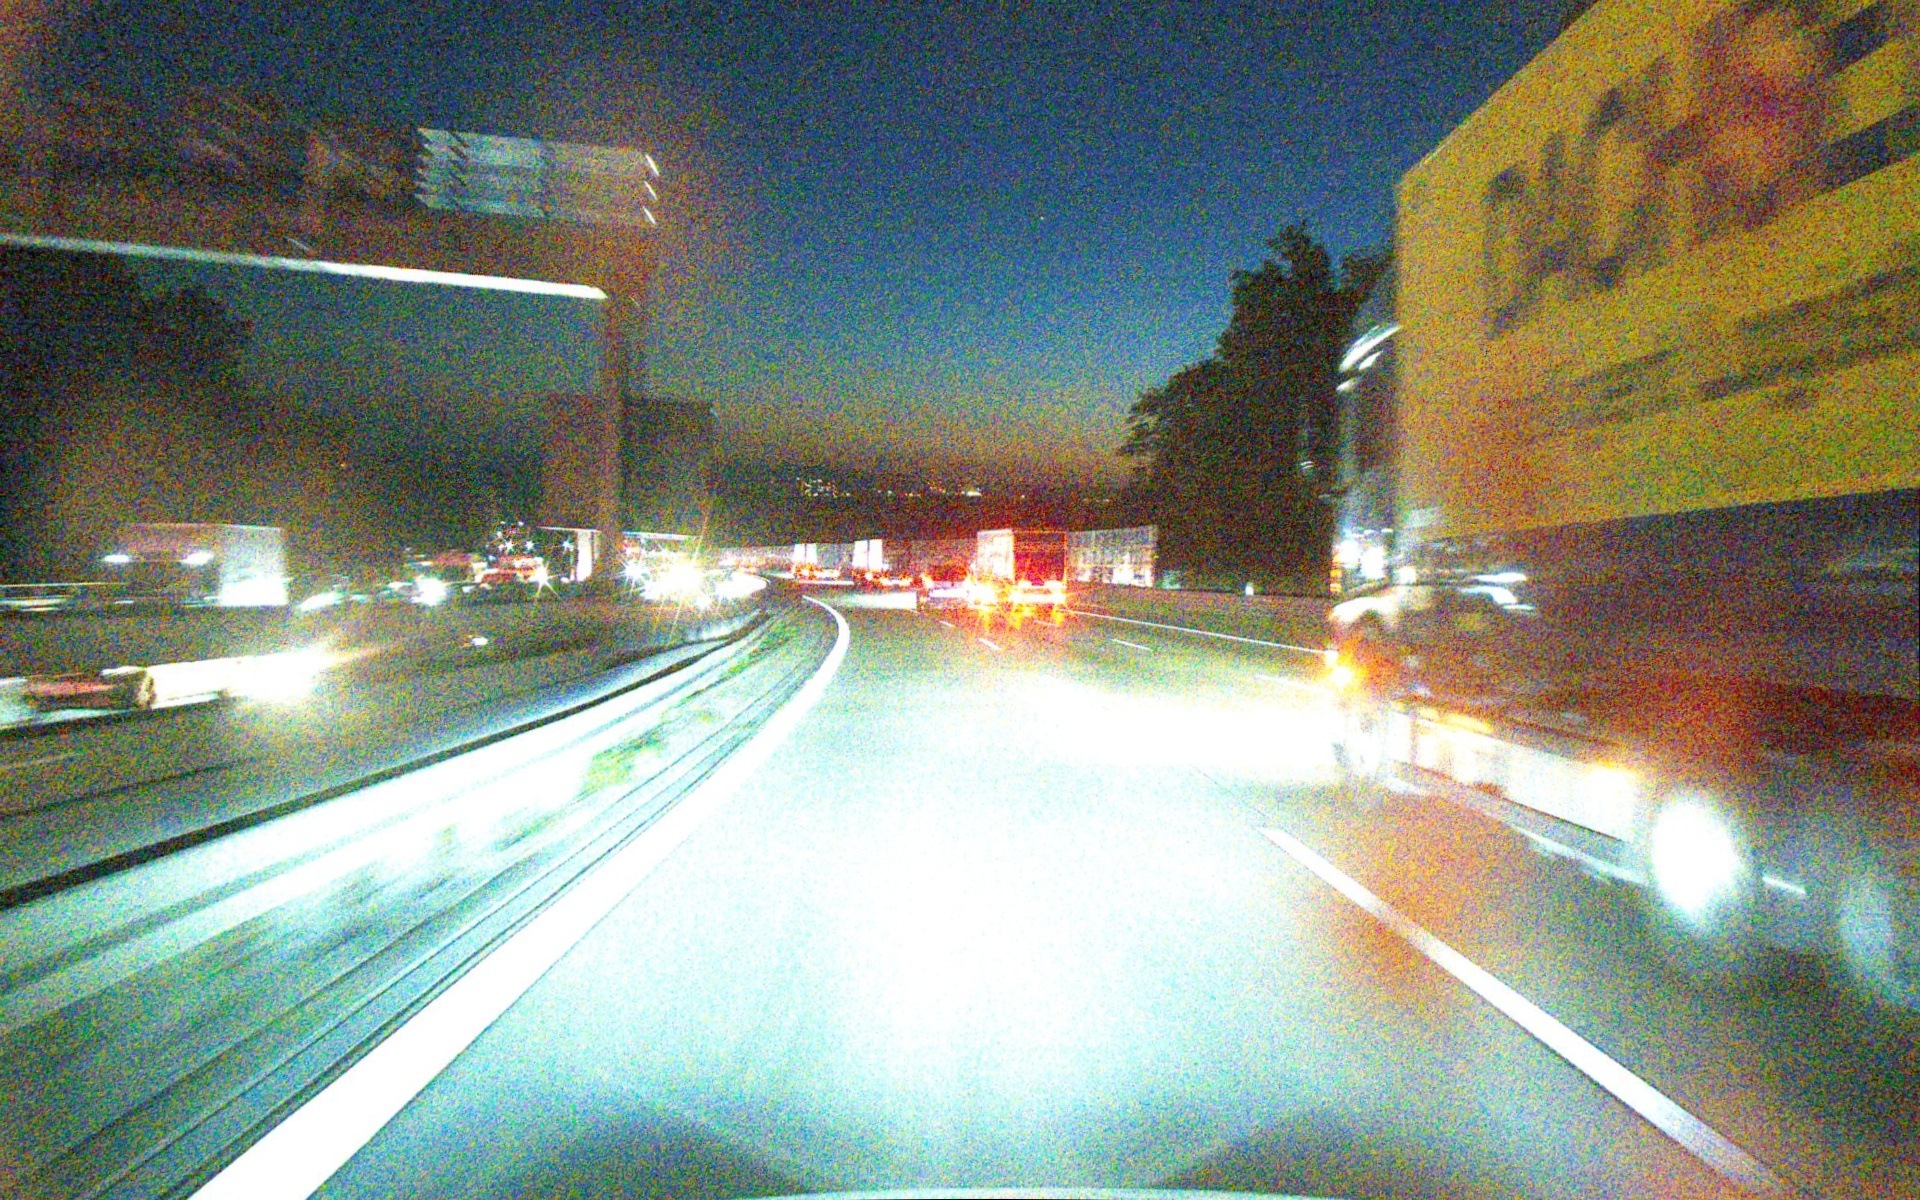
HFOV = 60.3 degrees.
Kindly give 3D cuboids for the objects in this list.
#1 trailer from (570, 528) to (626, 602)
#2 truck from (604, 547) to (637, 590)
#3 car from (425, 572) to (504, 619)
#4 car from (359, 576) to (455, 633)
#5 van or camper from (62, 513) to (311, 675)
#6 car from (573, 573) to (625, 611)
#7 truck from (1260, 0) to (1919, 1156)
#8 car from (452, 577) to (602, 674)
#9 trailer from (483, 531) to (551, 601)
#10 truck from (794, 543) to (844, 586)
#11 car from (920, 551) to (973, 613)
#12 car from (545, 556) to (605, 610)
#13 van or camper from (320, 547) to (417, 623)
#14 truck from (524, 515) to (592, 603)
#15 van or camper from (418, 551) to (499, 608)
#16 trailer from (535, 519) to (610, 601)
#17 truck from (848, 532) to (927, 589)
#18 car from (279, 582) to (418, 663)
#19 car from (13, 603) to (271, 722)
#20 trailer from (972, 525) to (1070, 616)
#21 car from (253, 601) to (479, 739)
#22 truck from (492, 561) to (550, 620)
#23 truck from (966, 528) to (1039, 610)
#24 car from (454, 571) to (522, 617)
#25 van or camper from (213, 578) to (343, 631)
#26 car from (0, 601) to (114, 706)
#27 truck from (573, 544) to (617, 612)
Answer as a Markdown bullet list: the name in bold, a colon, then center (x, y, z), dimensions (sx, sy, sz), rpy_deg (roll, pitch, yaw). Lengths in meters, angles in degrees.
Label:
- **trailer**: center (-25.178, -2.412, 115.666), dimensions (2.790, 4.538, 14.488), rpy_deg (-7, 2, -10)
- **truck**: center (-32.332, -3.021, 157.236), dimensions (2.781, 3.984, 4.916), rpy_deg (-1, 2, -15)
- **car**: center (-17.076, -0.189, 57.204), dimensions (1.861, 1.412, 4.343), rpy_deg (-2, 2, -7)
- **car**: center (-17.399, 0.151, 52.229), dimensions (1.890, 1.682, 4.730), rpy_deg (0, 0, -6)
- **van or camper**: center (-15.981, -0.172, 34.746), dimensions (2.178, 3.055, 7.121), rpy_deg (0, 1, -3)
- **car**: center (-15.543, -0.327, 71.330), dimensions (1.863, 1.550, 4.340), rpy_deg (-2, 0, -9)
- **truck**: center (4.264, -0.601, 3.752), dimensions (3.411, 4.207, 18.706), rpy_deg (2, 0, -1)
- **car**: center (-8.445, 0.456, 32.679), dimensions (1.770, 1.771, 4.866), rpy_deg (0, 0, -1)
- **trailer**: center (-29.104, -2.258, 109.211), dimensions (2.787, 4.244, 13.258), rpy_deg (-2, 1, -9)
- **truck**: center (-16.078, -4.046, 187.983), dimensions (3.288, 4.553, 13.860), rpy_deg (3, 1, -14)
- **car**: center (-0.586, -0.766, 75.949), dimensions (2.289, 2.686, 5.247), rpy_deg (2, -1, 0)
- **car**: center (-14.393, -0.603, 62.018), dimensions (1.644, 1.883, 4.105), rpy_deg (4, -1, -7)
- **van or camper**: center (-22.323, -0.619, 62.704), dimensions (1.955, 2.702, 6.609), rpy_deg (0, 1, -6)
- **truck**: center (-20.385, -2.051, 84.171), dimensions (2.812, 4.283, 6.094), rpy_deg (0, 1, -9)
- **van or camper**: center (-24.301, -1.041, 80.440), dimensions (2.533, 2.638, 7.101), rpy_deg (0, 1, -7)
- **trailer**: center (-21.632, -2.282, 93.059), dimensions (2.822, 4.256, 14.498), rpy_deg (0, 1, -8)
- **truck**: center (-6.766, -3.437, 148.772), dimensions (3.846, 4.708, 20.959), rpy_deg (0, 1, -11)
- **car**: center (-12.593, 0.431, 34.293), dimensions (1.608, 1.566, 3.997), rpy_deg (0, 0, -4)
- **car**: center (-11.556, 0.819, 23.701), dimensions (1.607, 1.509, 4.362), rpy_deg (0, 0, -1)
- **trailer**: center (2.822, -1.520, 81.974), dimensions (2.800, 4.138, 13.186), rpy_deg (0, 1, -7)
- **car**: center (-7.724, 0.846, 21.890), dimensions (1.647, 1.593, 3.999), rpy_deg (0, 1, -2)
- **truck**: center (-19.134, -0.435, 72.322), dimensions (1.957, 2.501, 5.040), rpy_deg (0, 1, -9)
- **truck**: center (2.177, -1.659, 87.449), dimensions (2.807, 4.147, 7.501), rpy_deg (0, 1, -6)
- **car**: center (-18.244, -0.282, 64.174), dimensions (1.850, 1.706, 5.071), rpy_deg (0, 1, -8)
- **van or camper**: center (-21.552, 0.097, 52.519), dimensions (2.178, 1.577, 5.214), rpy_deg (0, 1, -3)
- **car**: center (-15.468, 0.820, 26.662), dimensions (1.608, 1.566, 4.435), rpy_deg (0, 0, -4)
- **truck**: center (-24.173, -1.471, 109.696), dimensions (2.568, 4.343, 5.944), rpy_deg (0, 1, -10)
